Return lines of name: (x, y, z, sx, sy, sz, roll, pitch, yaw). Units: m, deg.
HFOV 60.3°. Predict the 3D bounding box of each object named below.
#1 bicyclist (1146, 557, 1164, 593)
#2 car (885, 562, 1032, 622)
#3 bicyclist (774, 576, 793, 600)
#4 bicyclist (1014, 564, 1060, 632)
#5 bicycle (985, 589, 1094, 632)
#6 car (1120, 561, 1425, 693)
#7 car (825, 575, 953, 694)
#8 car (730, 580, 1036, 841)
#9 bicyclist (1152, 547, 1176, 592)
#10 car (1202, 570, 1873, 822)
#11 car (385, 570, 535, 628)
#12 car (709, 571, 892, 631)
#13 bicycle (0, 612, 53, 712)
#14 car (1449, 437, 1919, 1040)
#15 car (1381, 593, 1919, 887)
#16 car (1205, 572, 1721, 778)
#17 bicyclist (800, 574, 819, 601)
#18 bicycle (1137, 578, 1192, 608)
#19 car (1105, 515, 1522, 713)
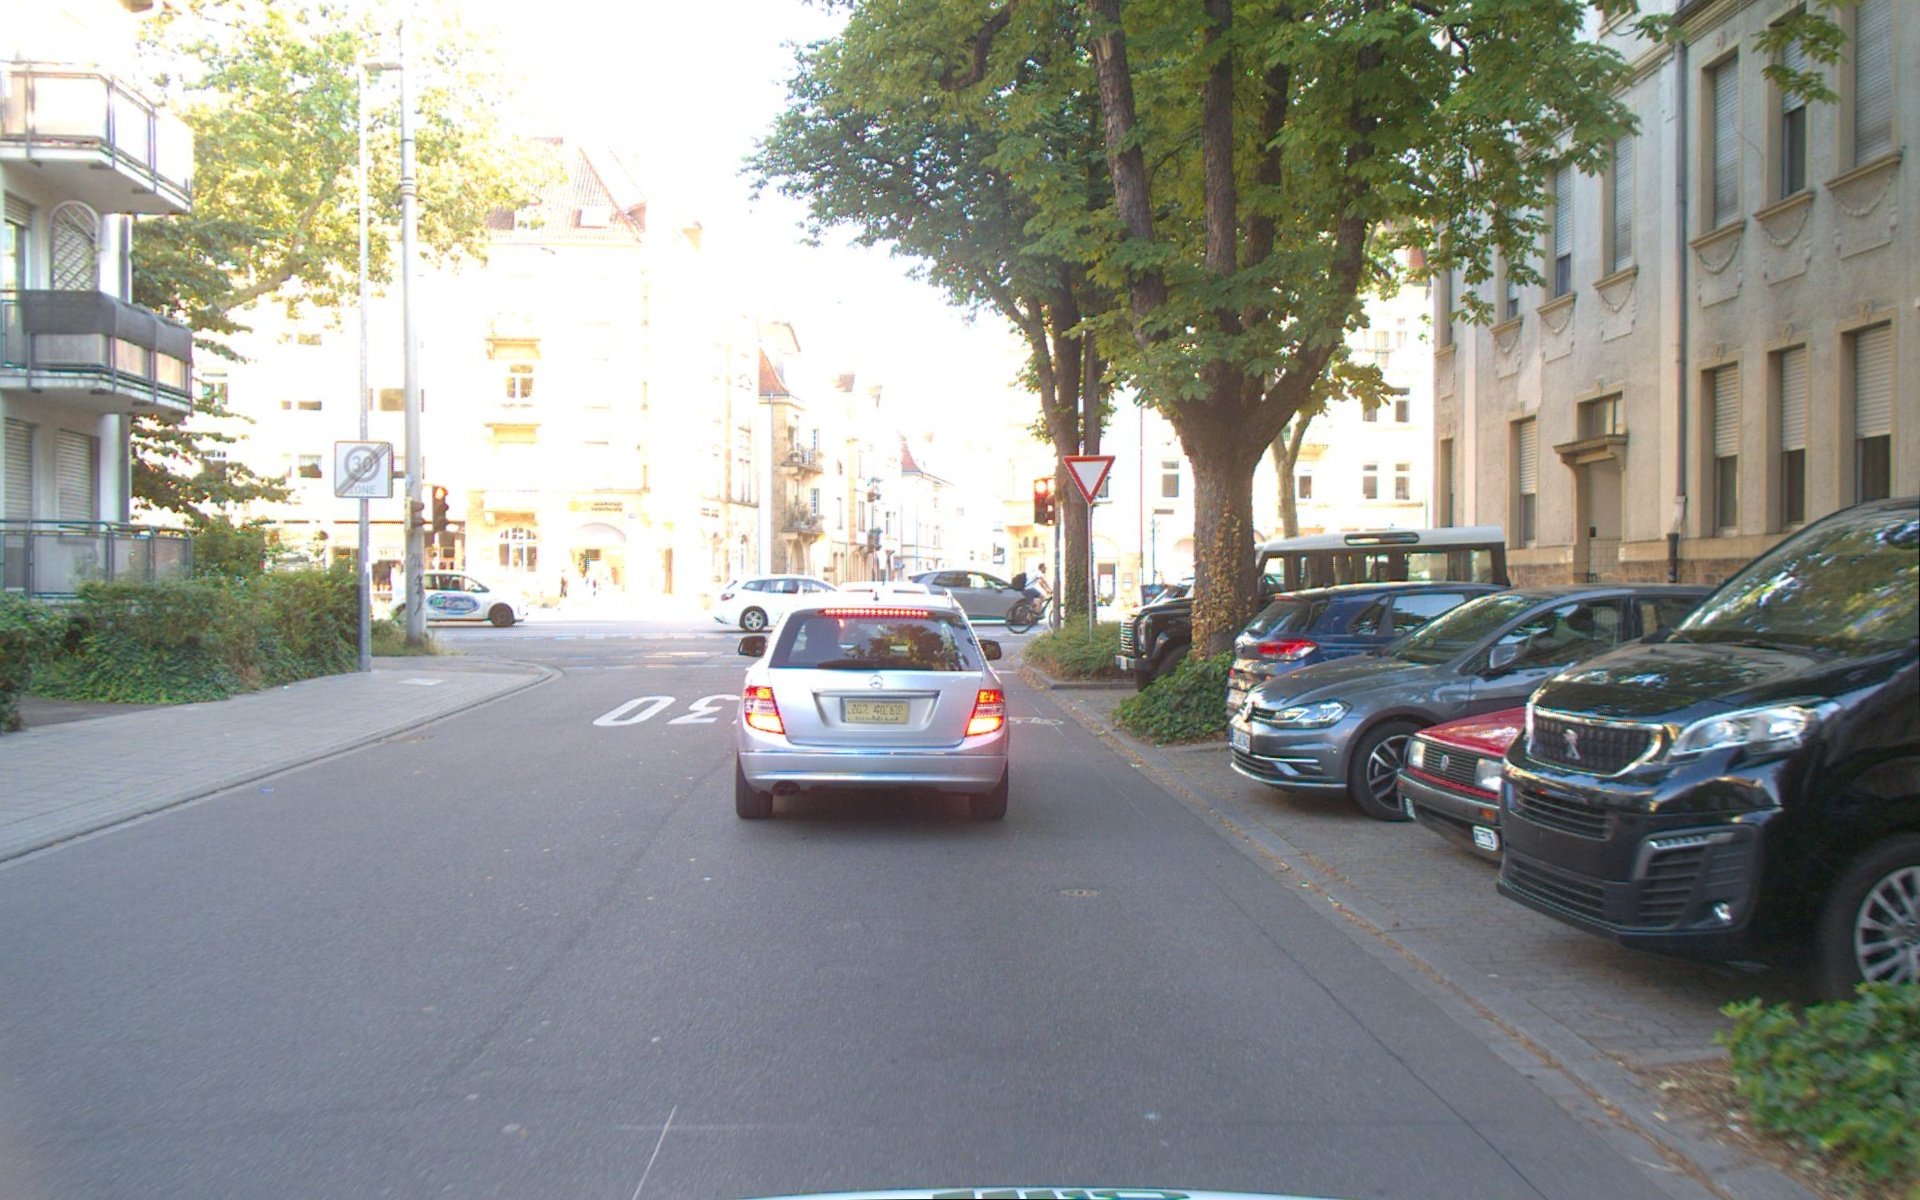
bicyclist: (8.014, -1.024, 68.045, 0.631, 1.451, 0.636, 0, 1, -6)
car: (-0.059, -0.235, 46.304, 3.893, 1.609, 1.736, -1, 1, -10)
bicyclist: (-8.752, -0.582, 82.035, 0.754, 1.176, 0.753, 1, 1, 10)
bicyclist: (1.927, -0.065, 41.539, 0.979, 1.683, 0.805, 0, 1, -12)
bicycle: (1.985, 0.250, 41.553, 2.636, 1.058, 0.805, 0, 1, -13)
car: (4.103, 0.336, 22.044, 3.651, 1.597, 1.707, -1, 0, -5)
car: (-1.011, 0.399, 22.849, 1.587, 1.472, 4.342, 0, 1, -3)
car: (-0.565, 0.611, 11.761, 1.742, 1.477, 4.545, 0, 1, -3)
bicyclist: (8.557, -1.268, 69.264, 0.874, 1.892, 0.636, 0, 1, -6)
car: (3.818, 0.585, 11.316, 3.974, 1.477, 1.721, -1, 0, -5)
car: (-13.254, -0.043, 44.000, 3.619, 1.474, 1.513, -1, 1, -10)
car: (-4.138, 0.000, 42.736, 4.578, 1.473, 1.735, 0, 1, -11)
bicycle: (-10.404, 0.636, 17.189, 1.608, 1.026, 0.509, 2, 0, -43)
car: (4.537, 0.383, 6.468, 4.658, 1.907, 1.895, -1, 0, -6)
car: (4.555, 0.664, 9.040, 4.057, 1.338, 1.627, -1, 0, -6)
car: (3.999, 0.554, 13.506, 3.651, 1.477, 1.707, -1, 0, -5)
bicyclist: (-7.472, -0.643, 82.083, 0.754, 1.312, 0.753, 1, 1, 10)
bicycle: (8.576, -0.300, 69.279, 2.213, 1.268, 0.636, 0, 1, -6)
car: (4.001, 0.134, 19.103, 4.378, 2.071, 1.699, -1, 0, -5)
